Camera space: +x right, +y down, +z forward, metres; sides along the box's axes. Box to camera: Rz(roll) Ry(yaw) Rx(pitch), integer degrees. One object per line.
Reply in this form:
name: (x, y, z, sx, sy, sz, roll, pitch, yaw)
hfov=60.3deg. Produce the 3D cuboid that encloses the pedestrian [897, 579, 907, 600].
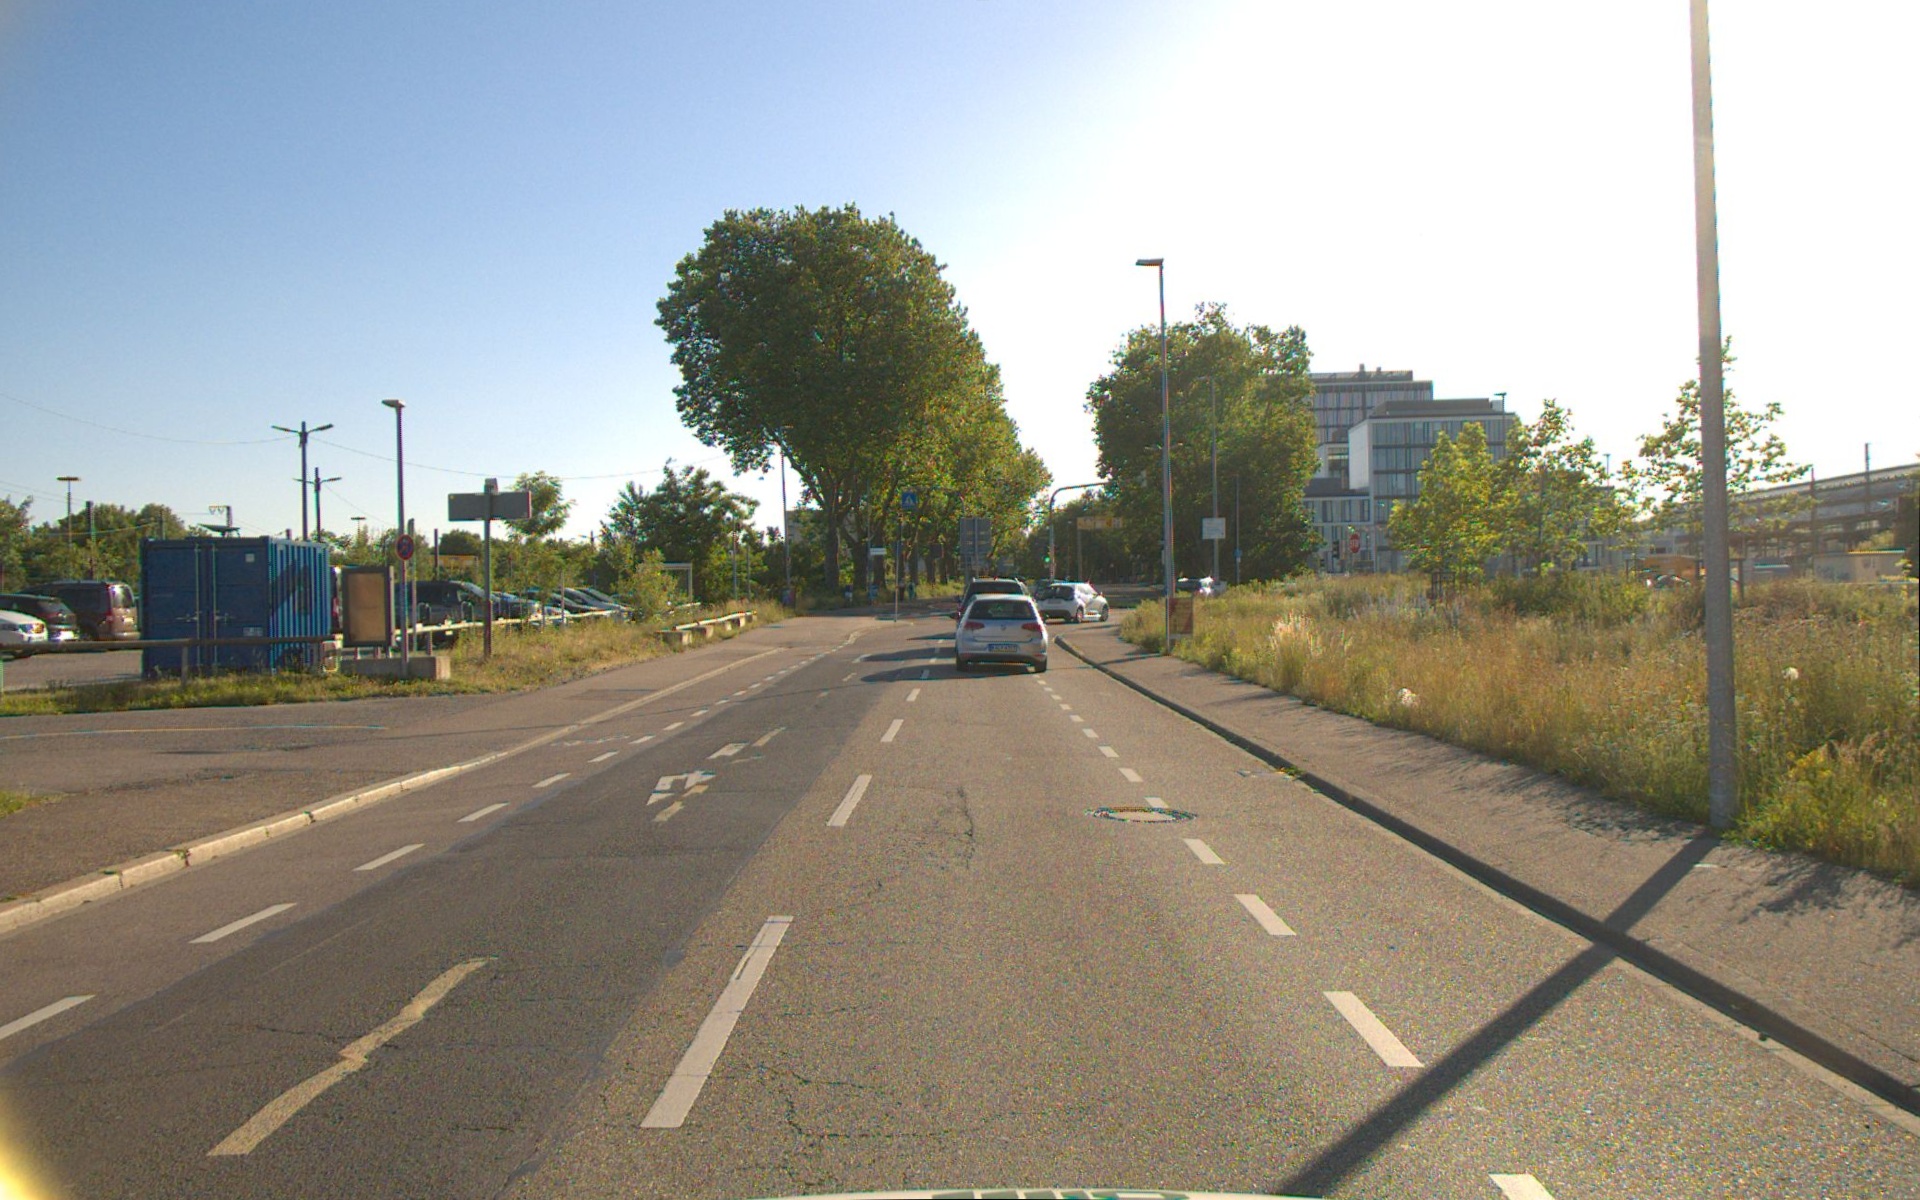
pedestrian: (-4.098, -0.737, 116.865, 0.664, 1.439, 0.684, 0, 0, 1)

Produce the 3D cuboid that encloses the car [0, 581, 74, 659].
car: (-23.431, 0.447, 38.547, 4.484, 1.771, 2.059, 0, 0, 4)

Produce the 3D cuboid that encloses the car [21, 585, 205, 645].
car: (-24.011, 0.403, 46.979, 4.233, 1.646, 1.878, 0, 0, -1)

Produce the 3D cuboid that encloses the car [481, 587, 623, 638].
car: (-12.859, 0.385, 52.278, 4.005, 1.585, 1.878, 0, 0, -1)

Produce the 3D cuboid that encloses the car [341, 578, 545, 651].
car: (-13.614, 0.366, 43.768, 4.746, 1.867, 2.000, 0, 0, -1)

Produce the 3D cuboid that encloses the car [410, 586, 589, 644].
car: (-13.002, 0.411, 46.859, 4.501, 1.585, 2.000, 0, 0, -1)

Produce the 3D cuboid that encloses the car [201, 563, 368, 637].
car: (-23.270, -0.003, 57.131, 4.826, 2.502, 2.319, 0, 0, -1)

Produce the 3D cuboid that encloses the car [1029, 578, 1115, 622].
car: (4.340, -0.015, 63.359, 1.862, 1.624, 3.995, 0, 0, 27)

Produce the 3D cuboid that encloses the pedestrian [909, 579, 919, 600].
pedestrian: (-3.211, -0.744, 116.542, 0.664, 1.439, 0.684, 0, 0, 1)

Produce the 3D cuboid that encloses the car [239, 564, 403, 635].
car: (-23.048, -0.019, 59.803, 4.992, 2.502, 2.319, 0, 0, -1)

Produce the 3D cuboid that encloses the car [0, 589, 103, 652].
car: (-23.966, 0.503, 41.612, 3.804, 1.546, 1.878, 0, 0, -1)

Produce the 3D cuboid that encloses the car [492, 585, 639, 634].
car: (-13.104, 0.293, 55.083, 4.449, 1.585, 1.878, 0, 0, -1)

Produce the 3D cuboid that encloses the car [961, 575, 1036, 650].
car: (0.931, 0.273, 41.961, 1.782, 1.799, 4.629, 0, 0, 0)

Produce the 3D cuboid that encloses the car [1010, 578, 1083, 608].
car: (4.800, -0.387, 92.226, 1.979, 1.624, 3.947, 0, 0, -37)

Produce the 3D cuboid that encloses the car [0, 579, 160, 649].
car: (-23.987, 0.362, 44.245, 4.233, 1.823, 1.878, 0, 0, -1)

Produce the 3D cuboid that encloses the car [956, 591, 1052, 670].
car: (0.835, 0.547, 32.380, 1.753, 1.445, 4.000, 0, 0, 1)

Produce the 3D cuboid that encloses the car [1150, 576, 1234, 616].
car: (10.438, -0.202, 74.220, 2.127, 1.713, 3.985, -1, 0, 36)

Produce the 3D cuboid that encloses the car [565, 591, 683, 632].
car: (-13.462, 0.459, 66.375, 4.335, 1.585, 1.878, 0, 0, -1)
